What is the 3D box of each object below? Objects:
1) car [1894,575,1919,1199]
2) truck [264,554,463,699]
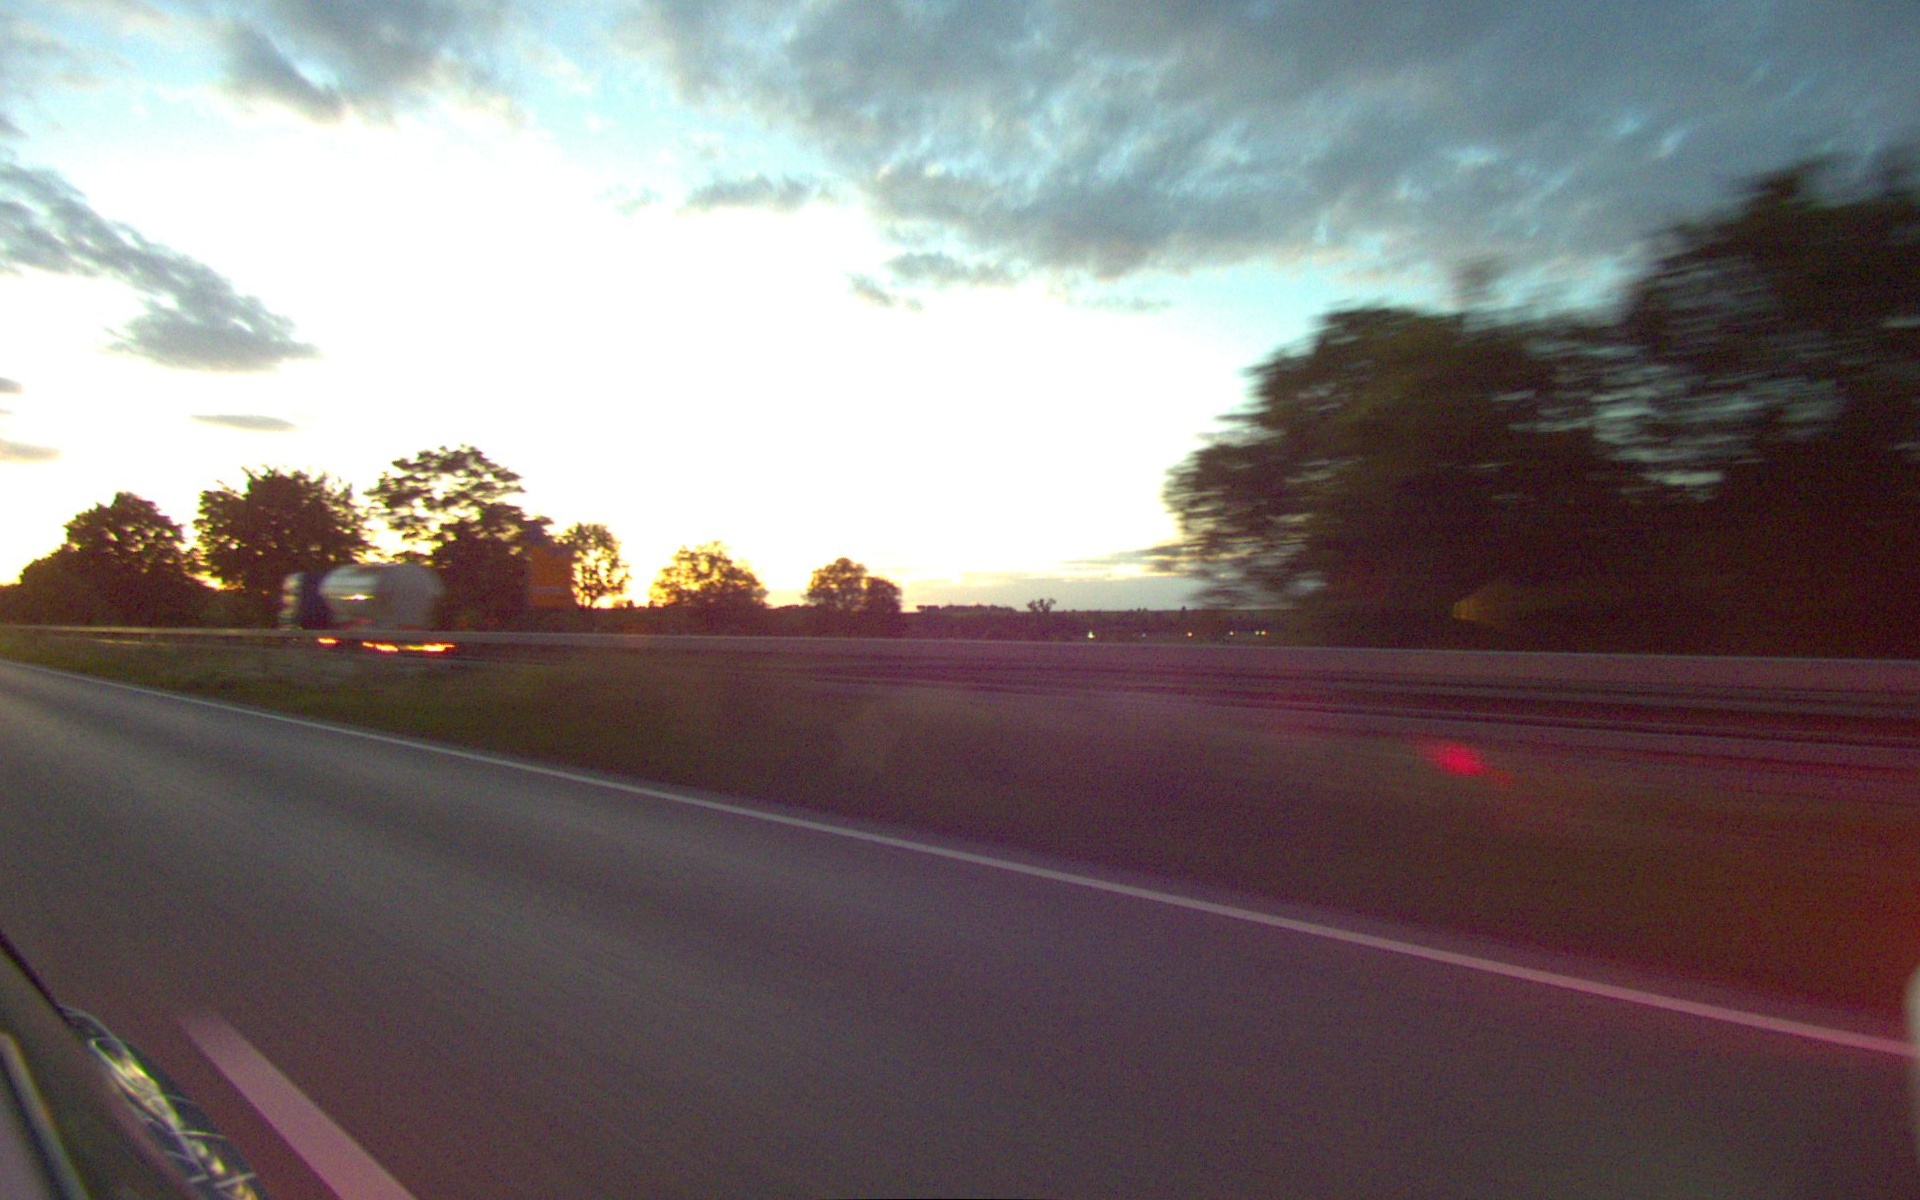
[{"bbox_3d":[3.667,0.669,0.522,4.576,1.502,1.625,-1,-1,41],"label":"car"},{"bbox_3d":[-25.341,1.111,42.519,12.602,5.296,3.169,-1,-3,41],"label":"truck"}]
